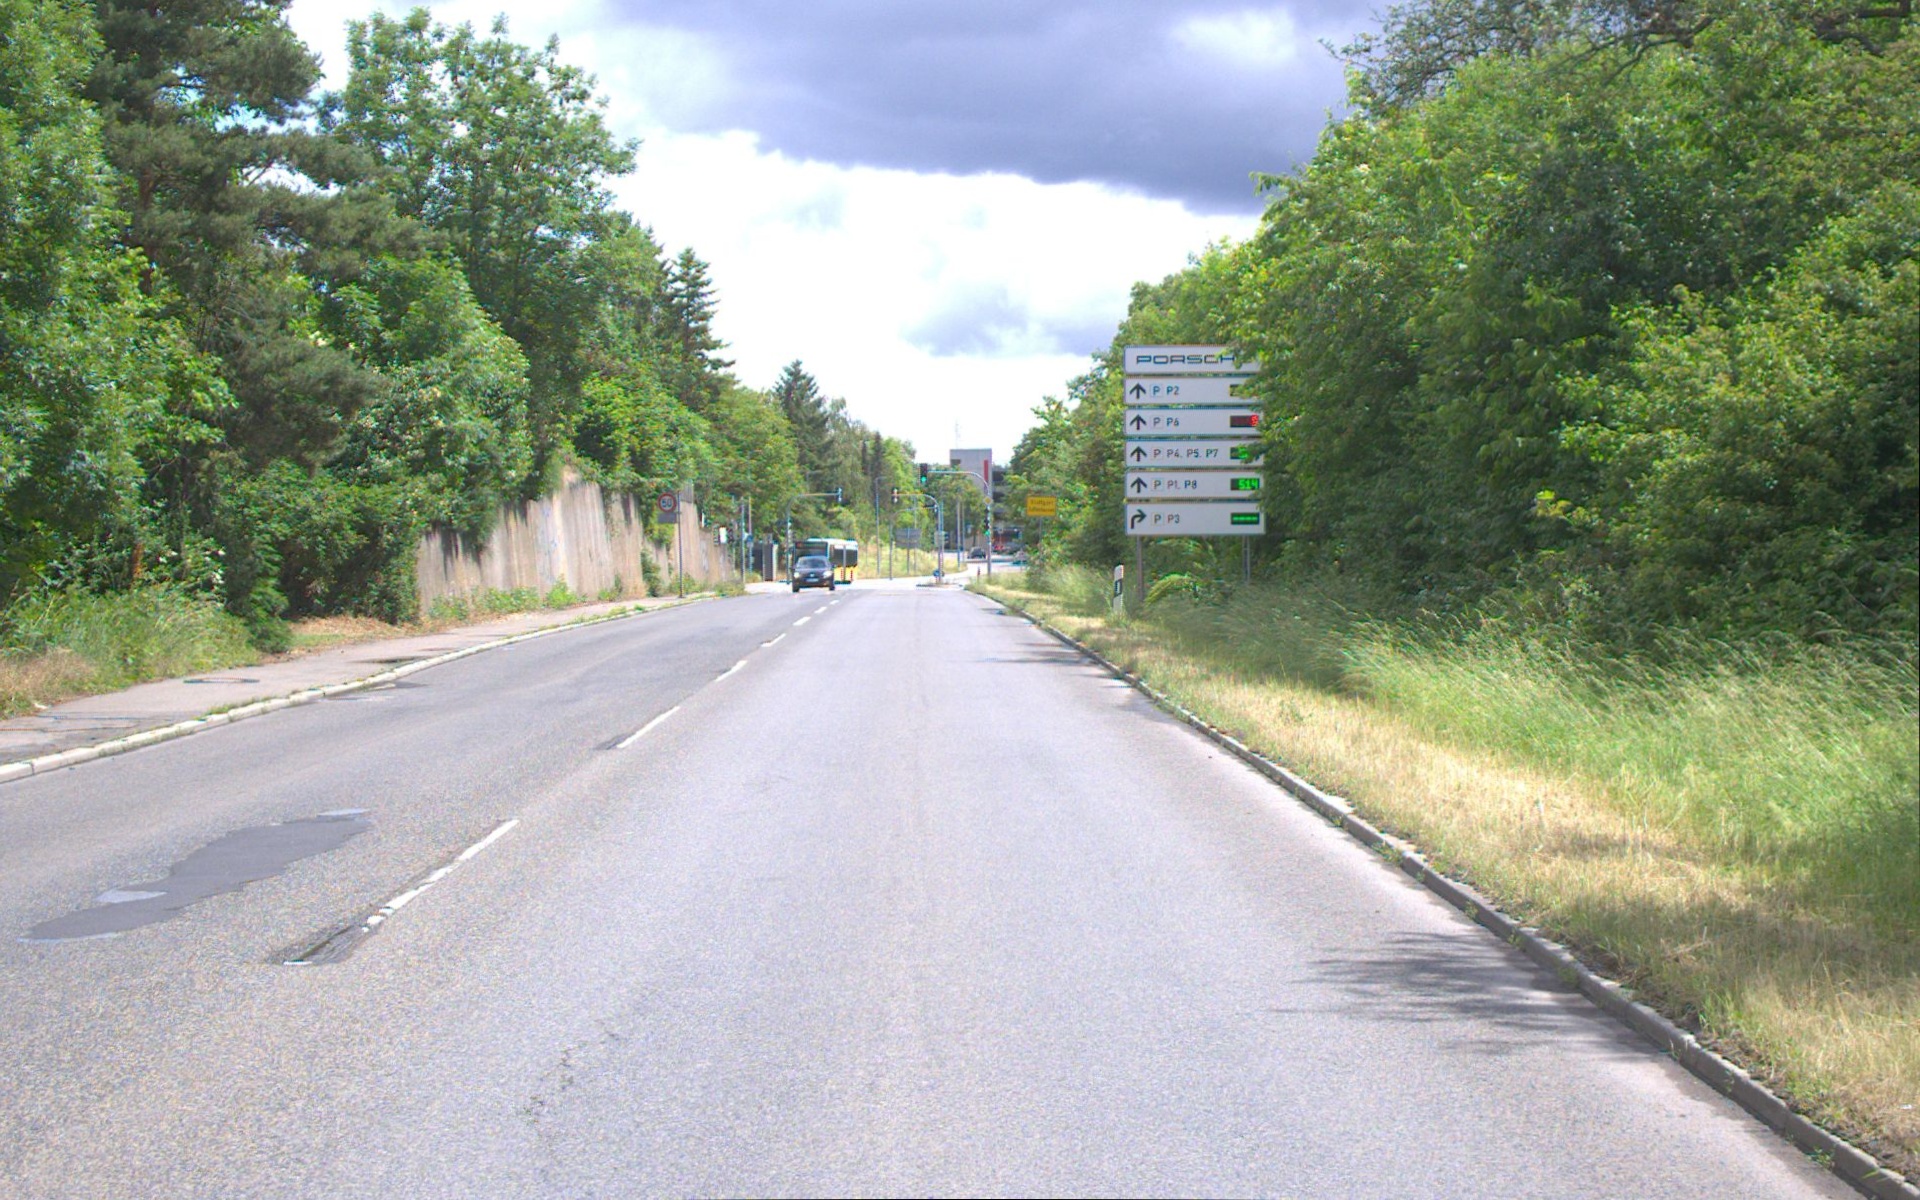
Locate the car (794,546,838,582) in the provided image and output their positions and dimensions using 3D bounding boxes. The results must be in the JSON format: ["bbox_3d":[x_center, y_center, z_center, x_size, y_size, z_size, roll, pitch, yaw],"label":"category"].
[{"bbox_3d":[-6.055,-1.510,144.799,1.751,1.459,4.000,-1,1,-1],"label":"car"}]

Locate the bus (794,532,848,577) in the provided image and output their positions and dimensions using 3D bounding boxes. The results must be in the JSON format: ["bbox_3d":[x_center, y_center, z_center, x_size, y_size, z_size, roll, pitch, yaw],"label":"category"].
[{"bbox_3d":[-9.419,-3.105,233.033,2.895,2.889,7.667,2,2,3],"label":"bus"}]
